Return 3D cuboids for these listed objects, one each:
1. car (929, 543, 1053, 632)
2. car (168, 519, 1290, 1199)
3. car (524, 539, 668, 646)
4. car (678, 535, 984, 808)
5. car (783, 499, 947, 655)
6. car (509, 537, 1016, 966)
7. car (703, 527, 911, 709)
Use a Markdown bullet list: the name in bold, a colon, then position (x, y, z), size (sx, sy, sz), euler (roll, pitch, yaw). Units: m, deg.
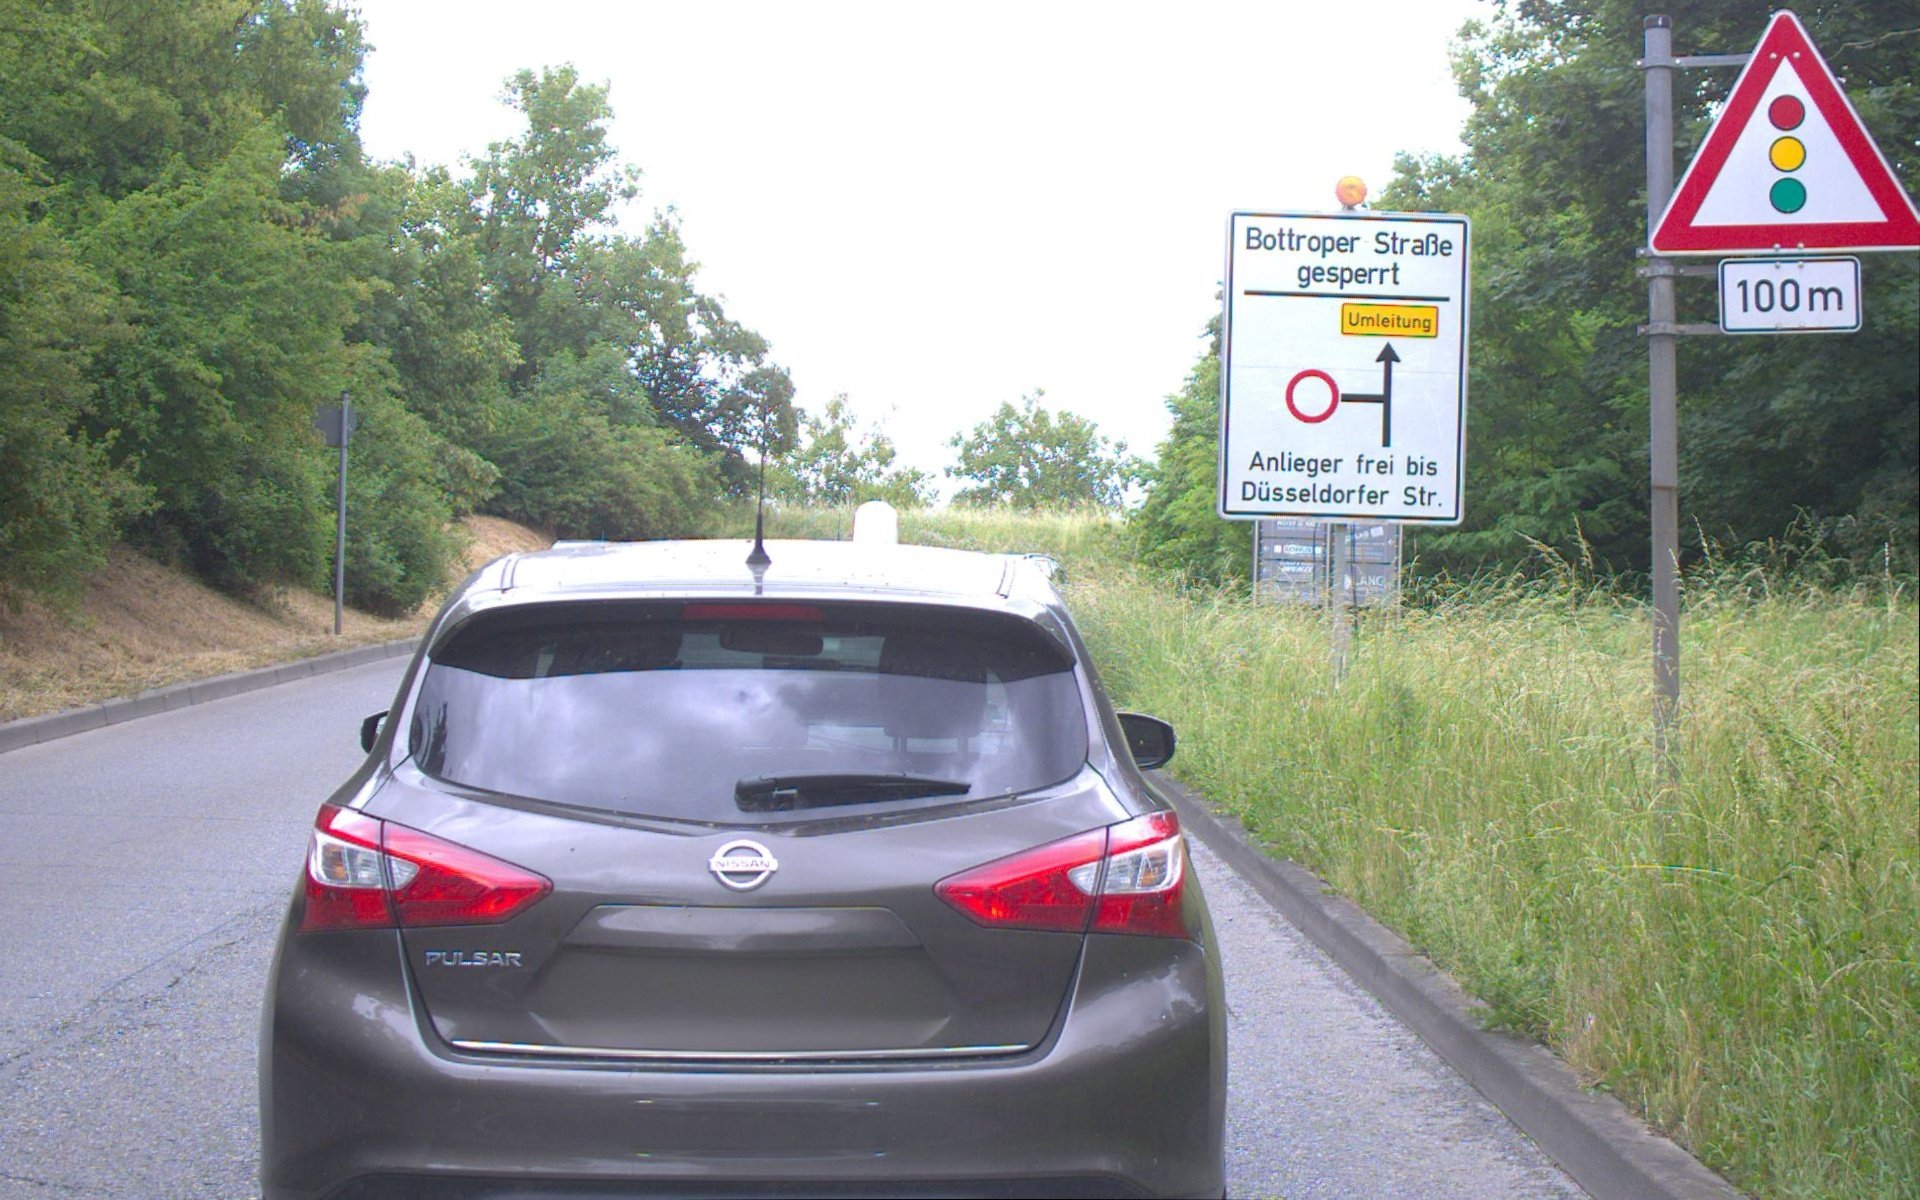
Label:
- **car**: position (0.575, -0.243, 60.854), size (1.736, 1.521, 3.542), euler (0, 1, 8)
- **car**: position (-0.442, 0.617, 7.386), size (1.830, 1.551, 3.500), euler (0, 1, -2)
- **car**: position (-4.954, -0.133, 47.162), size (1.642, 1.395, 3.822), euler (0, 1, -1)
- **car**: position (-0.743, 0.374, 21.401), size (1.736, 1.551, 3.544), euler (0, 1, 0)
- **car**: position (-1.185, -0.313, 44.355), size (1.736, 1.928, 3.543), euler (0, 1, 4)
- **car**: position (-0.724, 0.517, 14.285), size (1.830, 1.551, 3.625), euler (0, 1, 0)
- **car**: position (-1.330, 0.122, 31.143), size (1.736, 1.551, 3.544), euler (0, 1, 0)
